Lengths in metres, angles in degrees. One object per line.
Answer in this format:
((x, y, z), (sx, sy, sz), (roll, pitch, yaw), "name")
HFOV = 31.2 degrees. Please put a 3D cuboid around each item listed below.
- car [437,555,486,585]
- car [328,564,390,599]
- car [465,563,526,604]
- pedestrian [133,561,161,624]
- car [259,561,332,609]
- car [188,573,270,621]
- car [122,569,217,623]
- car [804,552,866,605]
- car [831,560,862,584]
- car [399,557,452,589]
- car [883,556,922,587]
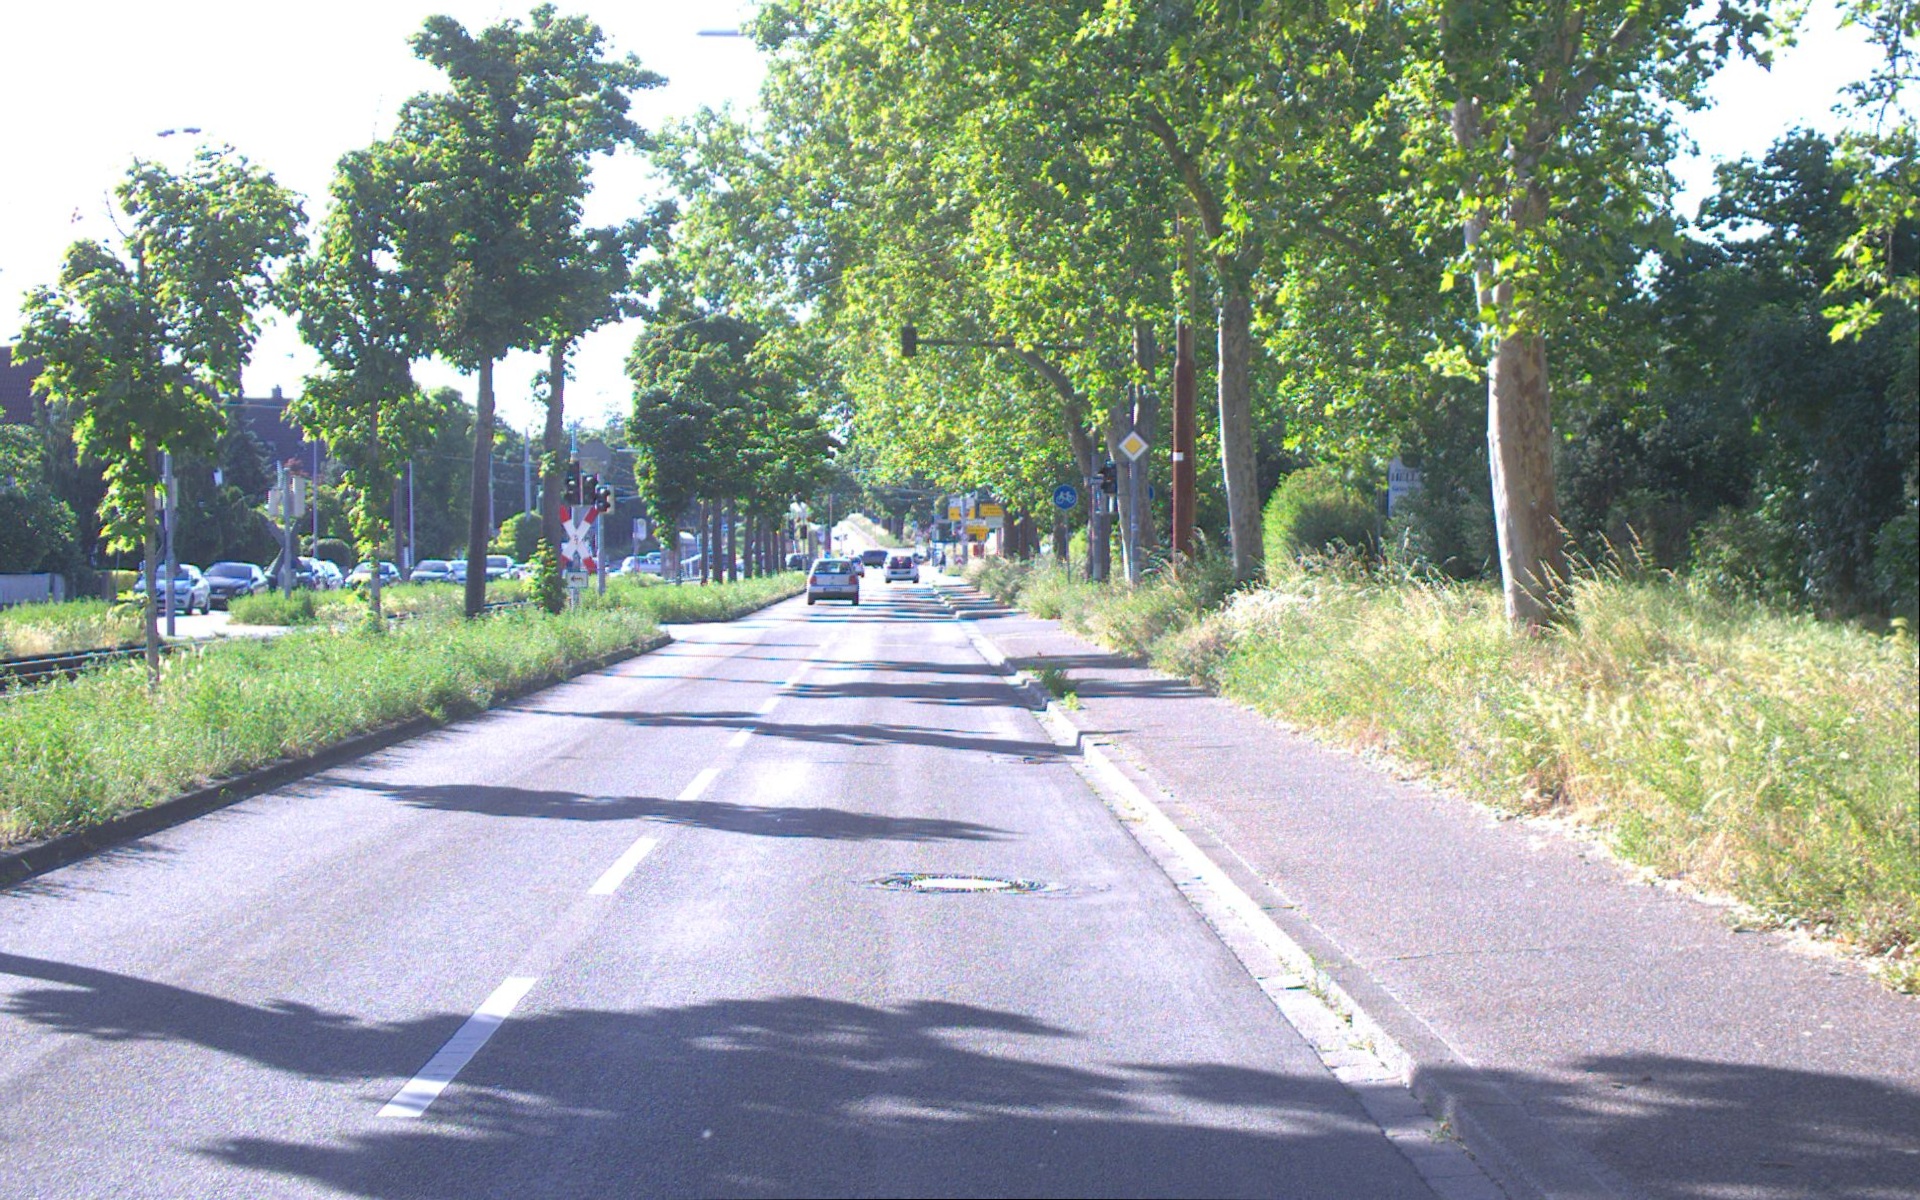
((-24.459, -1.463, 168.738), (1.860, 1.426, 4.462), (1, 0, -1), "car")
((-24.488, -0.759, 140.205), (1.860, 1.365, 4.228), (1, 0, -1), "car")
((-19.030, -0.672, 141.051), (1.993, 1.598, 4.473), (1, 0, -1), "car")
((-25.867, -0.245, 109.435), (0.680, 2.007, 0.772), (1, 0, -1), "pedestrian")
((-23.346, -0.536, 120.913), (1.748, 1.645, 4.555), (1, 0, -1), "car")
((-23.322, -0.115, 109.786), (1.729, 1.461, 4.603), (1, 0, -1), "car")
((-23.173, -0.122, 100.918), (1.860, 1.537, 4.228), (1, 0, -1), "car")
((-3.917, -0.676, 107.879), (1.860, 1.595, 4.228), (1, 0, -1), "car")
((-7.753, -1.903, 235.172), (1.993, 1.598, 4.473), (1, 0, -1), "car")
((-24.674, -1.237, 158.855), (1.860, 1.408, 4.158), (1, 0, -1), "car")
((-3.050, -1.517, 182.405), (1.993, 1.598, 4.473), (1, 0, -1), "car")
